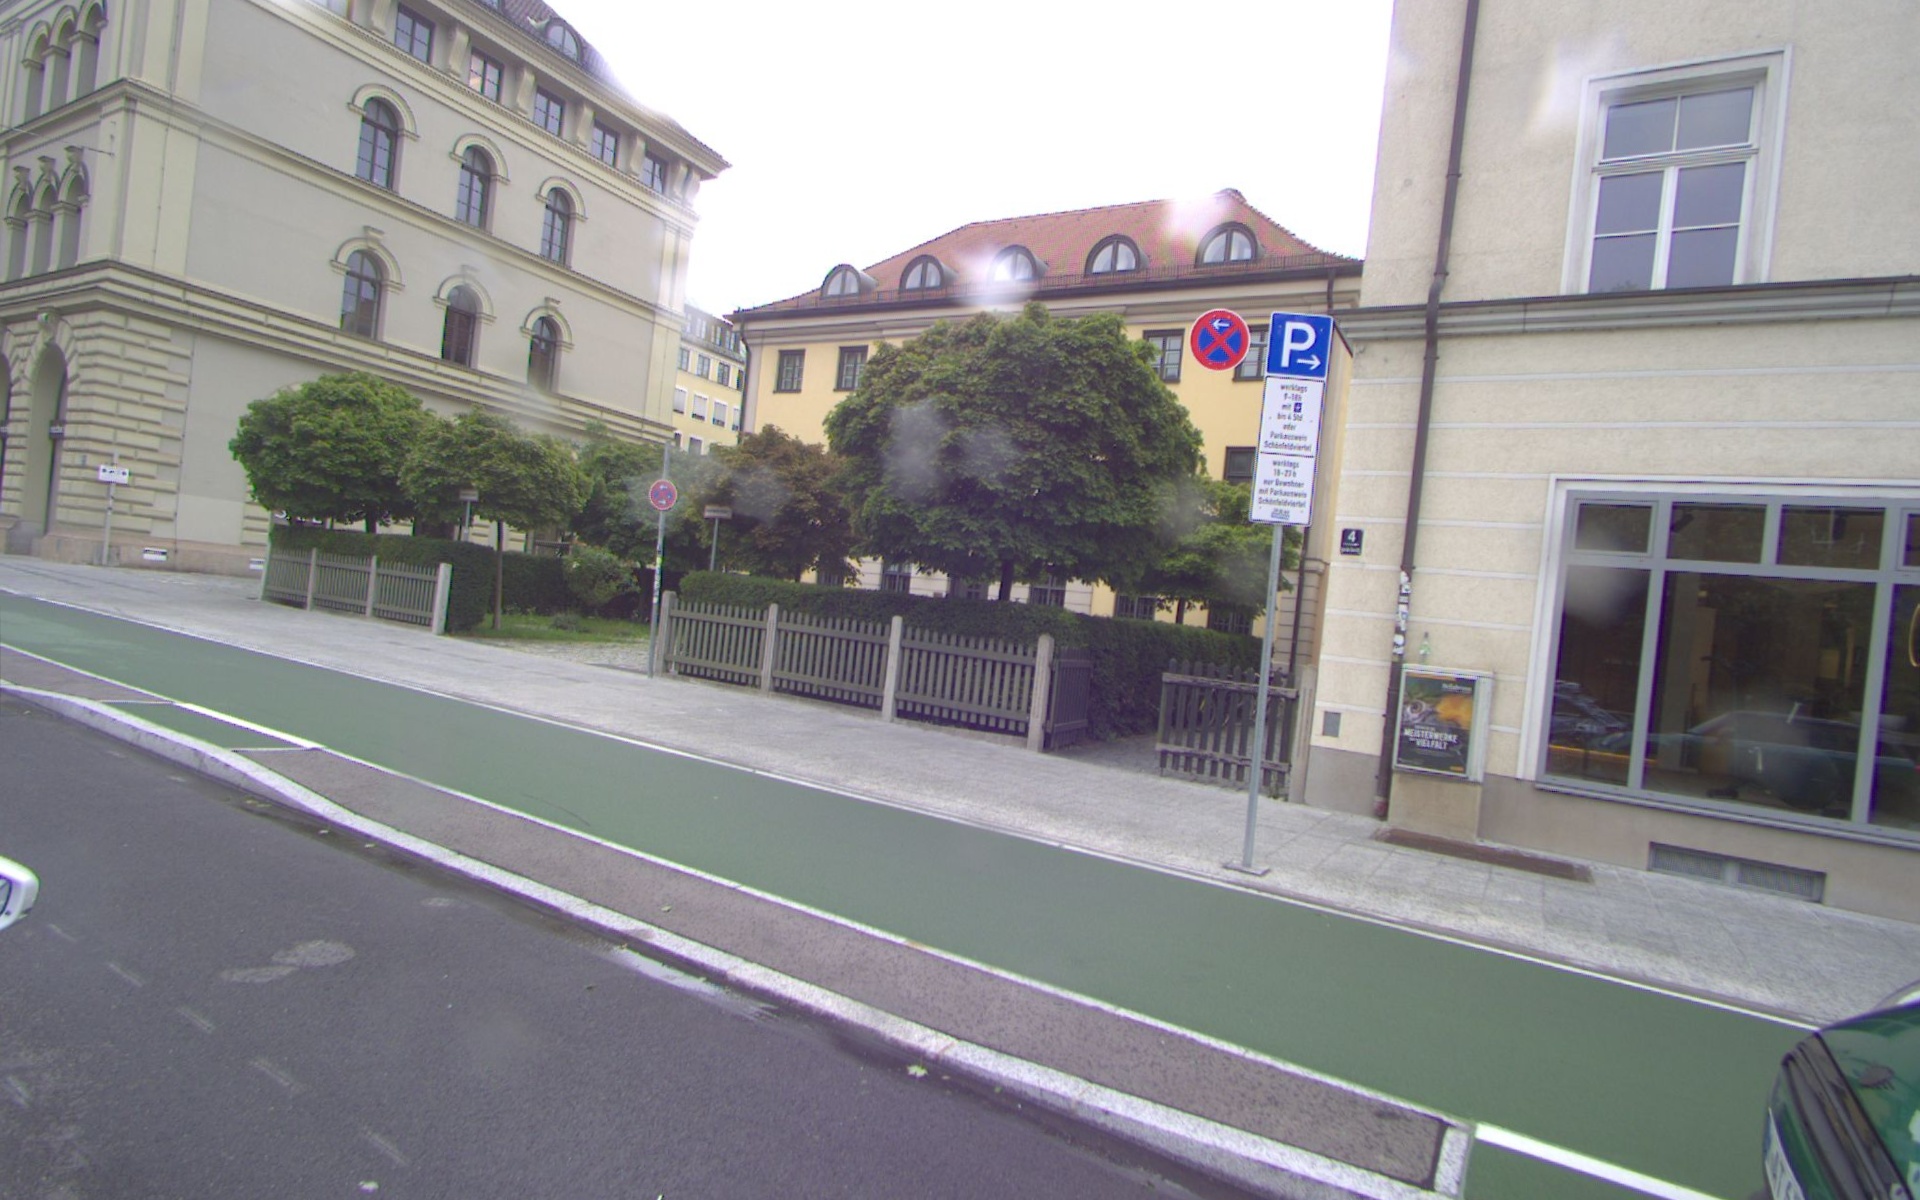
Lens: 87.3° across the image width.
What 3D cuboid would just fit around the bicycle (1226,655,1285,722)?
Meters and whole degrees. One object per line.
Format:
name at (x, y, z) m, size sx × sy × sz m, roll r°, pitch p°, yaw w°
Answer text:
bicycle at (5.448, 1.623, 18.486) m, size 0.512 × 1.124 × 1.830 m, roll 7°, pitch -1°, yaw 30°

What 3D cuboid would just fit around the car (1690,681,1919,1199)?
car at (3.249, 1.132, 1.078) m, size 3.767 × 1.538 × 1.678 m, roll 6°, pitch -2°, yaw 33°

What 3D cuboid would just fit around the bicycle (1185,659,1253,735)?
bicycle at (4.311, 1.592, 16.649) m, size 0.512 × 1.130 × 1.830 m, roll 7°, pitch -1°, yaw 30°

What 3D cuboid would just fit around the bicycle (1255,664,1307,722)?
bicycle at (6.434, 1.854, 20.122) m, size 0.512 × 1.048 × 1.830 m, roll 7°, pitch -1°, yaw 30°
